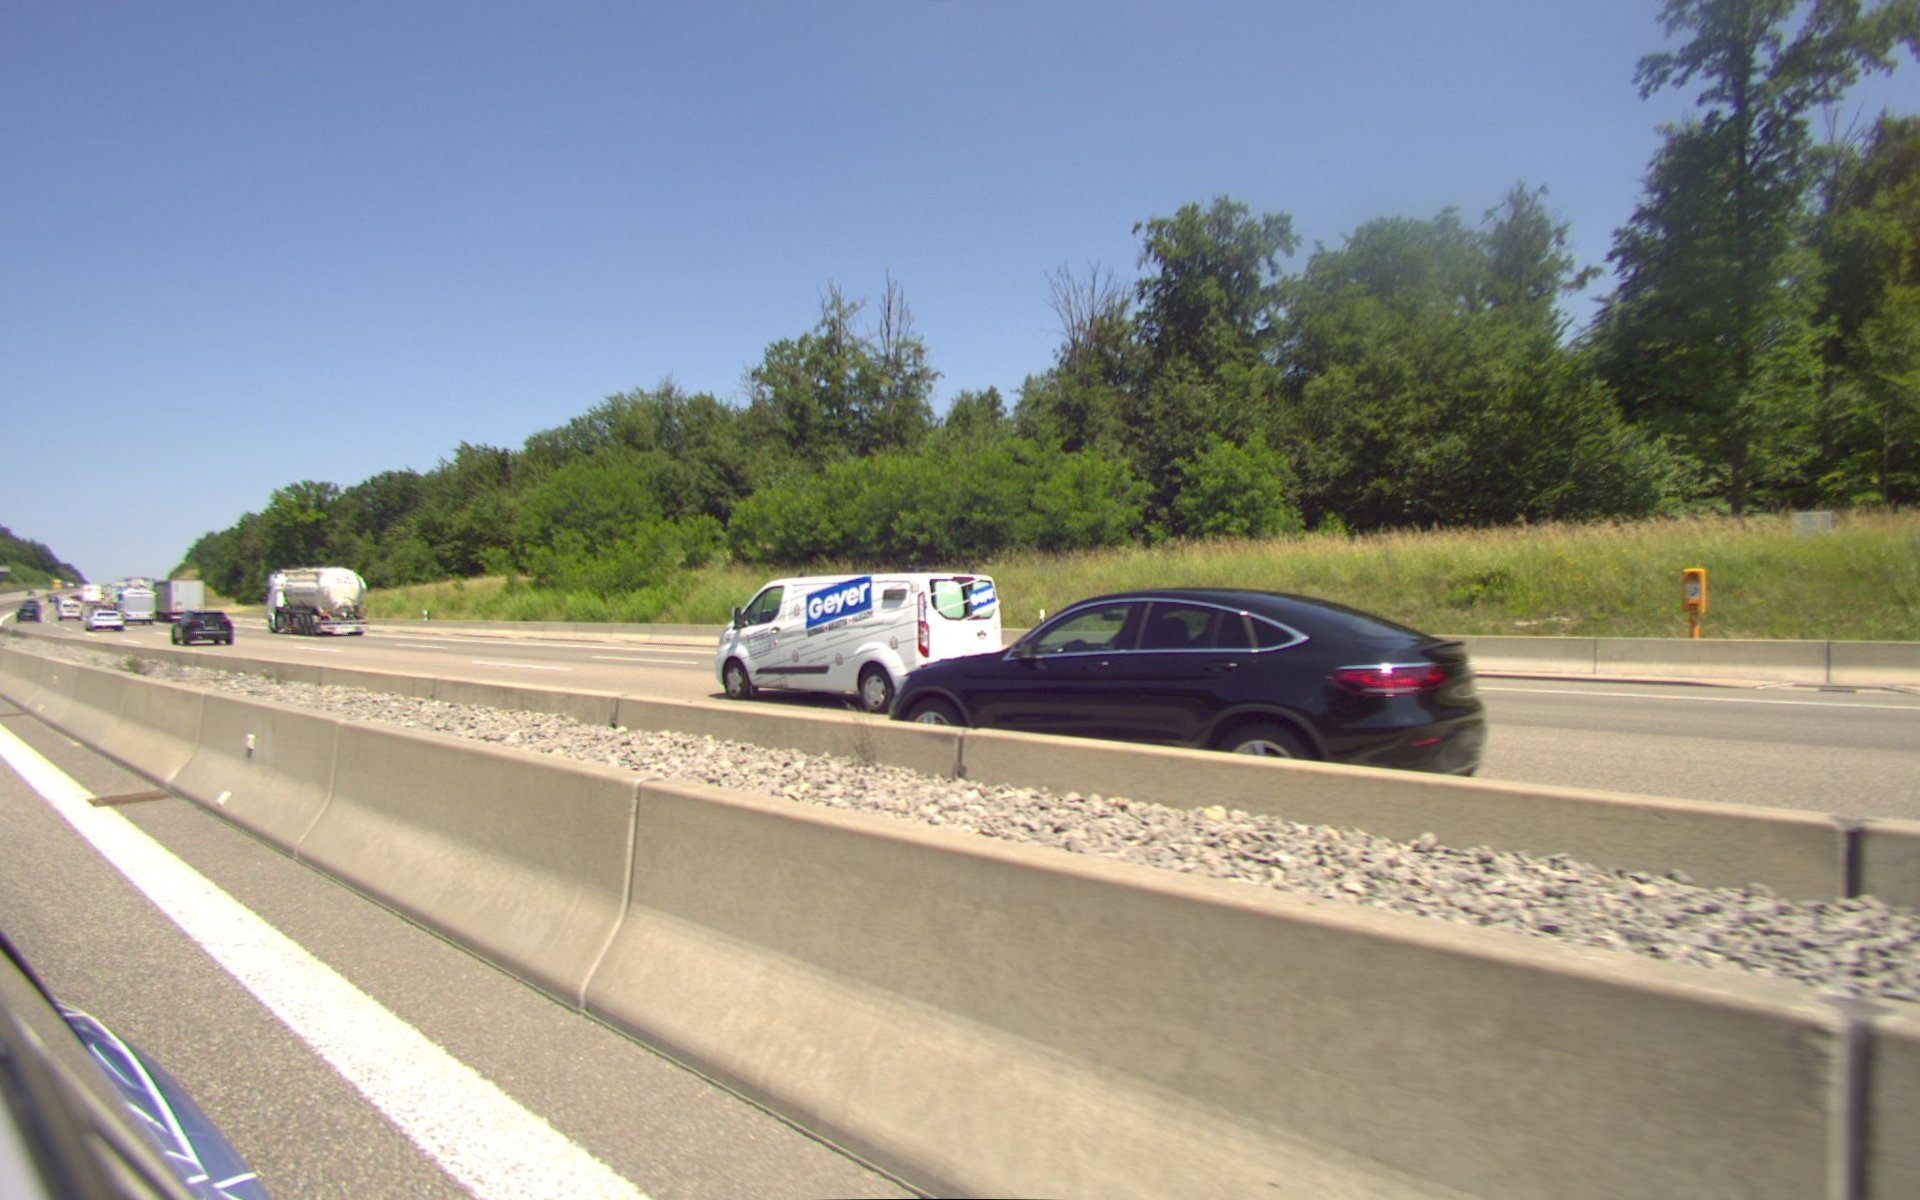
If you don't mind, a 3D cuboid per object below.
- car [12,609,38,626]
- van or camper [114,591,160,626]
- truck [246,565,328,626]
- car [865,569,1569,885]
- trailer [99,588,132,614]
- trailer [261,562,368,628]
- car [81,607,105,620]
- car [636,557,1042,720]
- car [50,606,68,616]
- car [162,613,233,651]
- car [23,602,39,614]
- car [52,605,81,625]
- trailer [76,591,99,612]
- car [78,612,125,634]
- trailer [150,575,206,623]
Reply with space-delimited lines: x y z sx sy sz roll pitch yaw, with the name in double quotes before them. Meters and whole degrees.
"car" -90.149 1.630 97.570 1.655 1.508 4.955 -1 1 -45
"van or camper" -72.594 0.766 89.255 2.528 2.953 7.355 0 -1 -44
"truck" -42.014 -0.286 63.071 6.619 3.570 2.675 0 1 42
"car" 1.617 0.652 7.670 4.915 1.674 1.807 0 1 42
"trailer" -140.232 0.230 167.927 3.191 4.068 15.299 0 0 -44
"trailer" -38.182 -0.305 59.661 10.492 3.561 2.623 0 1 42
"car" -105.178 1.598 122.810 1.970 1.507 4.802 0 0 -44
"car" -2.223 0.524 16.062 7.137 2.071 2.173 -1 -1 41
"car" -140.317 1.732 157.599 4.002 1.476 1.755 0 1 45
"car" -33.820 1.371 44.839 4.610 1.538 1.657 0 1 42
"car" -149.875 1.285 163.298 1.806 1.843 4.988 0 0 -44
"car" -93.628 1.517 106.061 1.980 2.029 5.188 0 -1 -45
"trailer" -174.677 0.292 202.630 2.902 4.131 12.166 -1 1 -43
"car" -59.170 1.544 69.698 5.048 1.470 1.971 -1 -1 44
"trailer" -76.764 -0.118 99.161 2.995 4.393 14.291 -1 1 -43
